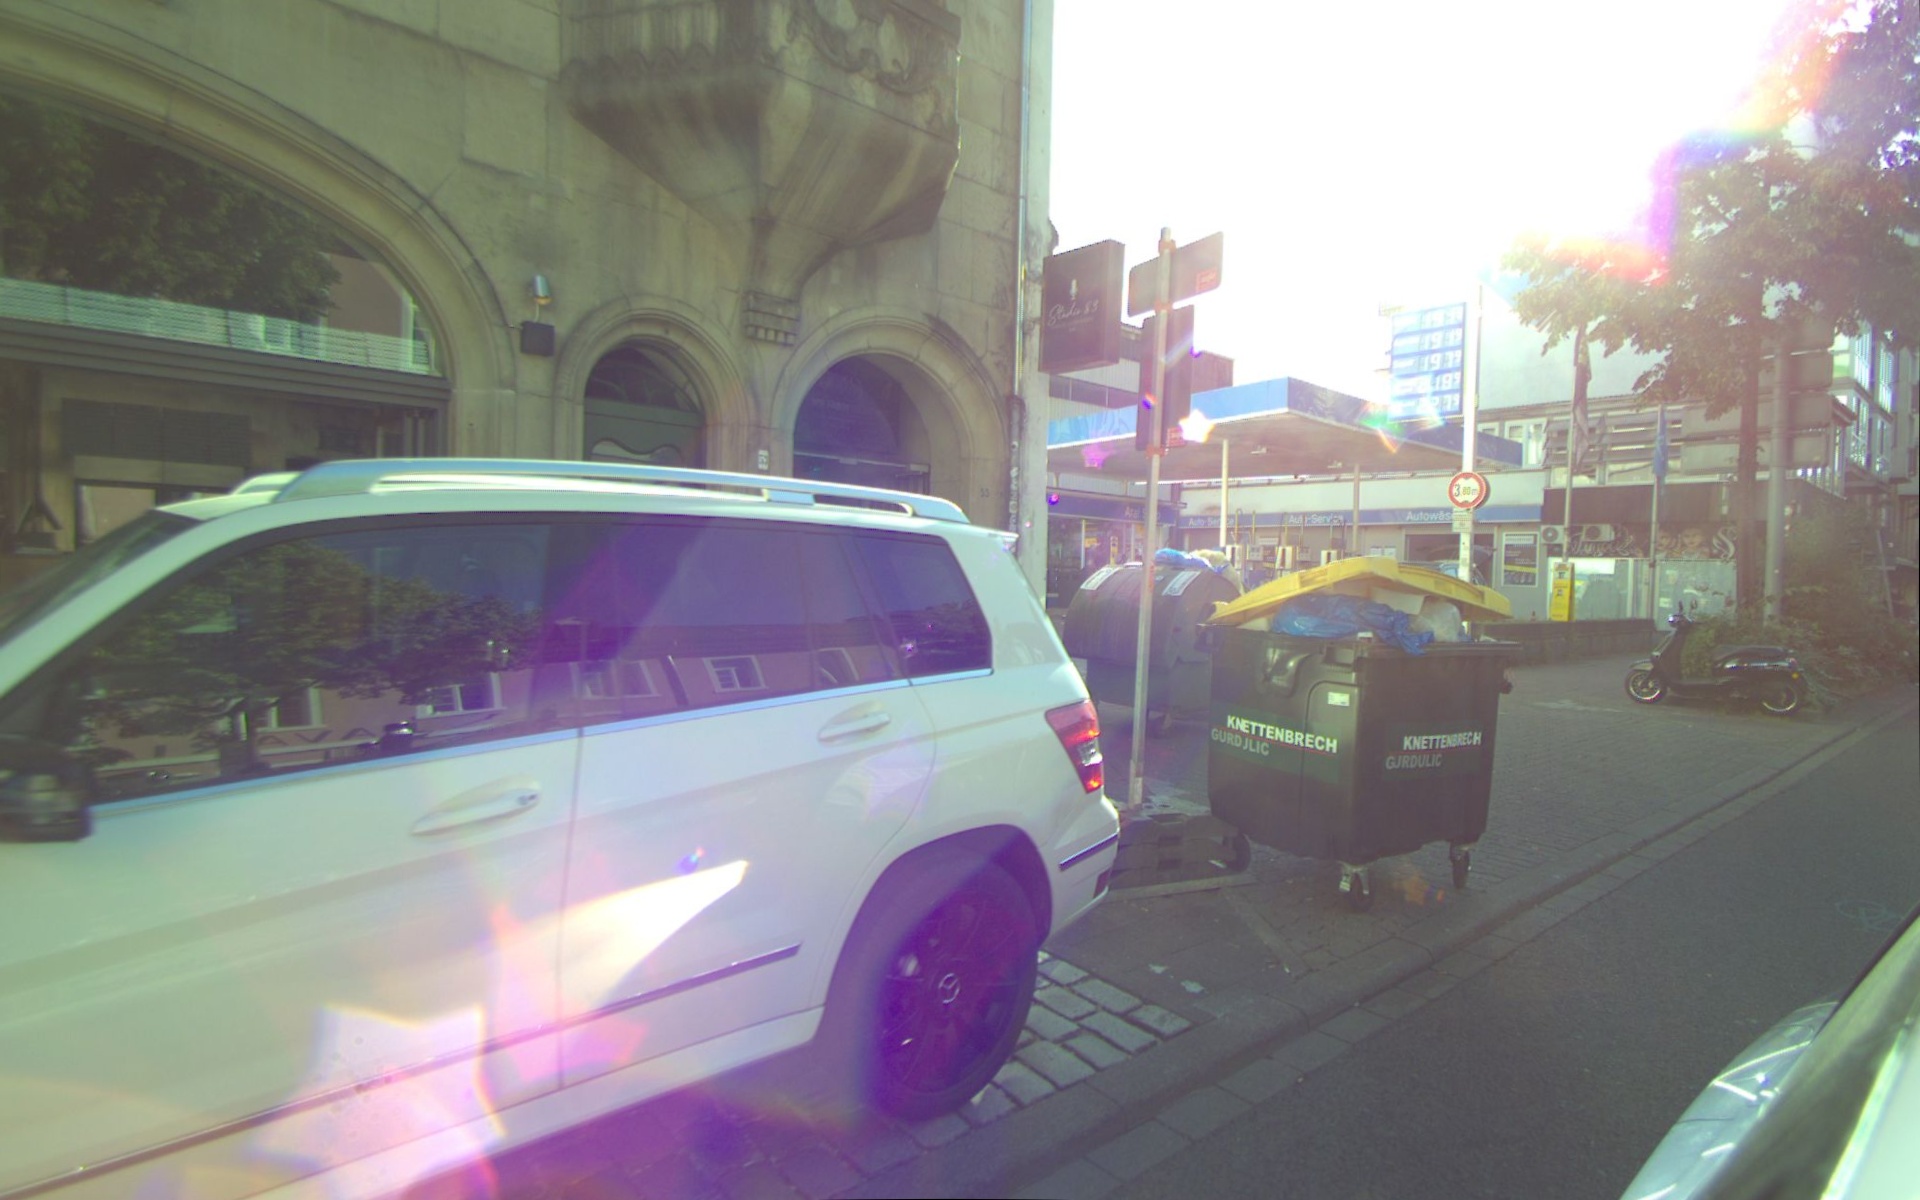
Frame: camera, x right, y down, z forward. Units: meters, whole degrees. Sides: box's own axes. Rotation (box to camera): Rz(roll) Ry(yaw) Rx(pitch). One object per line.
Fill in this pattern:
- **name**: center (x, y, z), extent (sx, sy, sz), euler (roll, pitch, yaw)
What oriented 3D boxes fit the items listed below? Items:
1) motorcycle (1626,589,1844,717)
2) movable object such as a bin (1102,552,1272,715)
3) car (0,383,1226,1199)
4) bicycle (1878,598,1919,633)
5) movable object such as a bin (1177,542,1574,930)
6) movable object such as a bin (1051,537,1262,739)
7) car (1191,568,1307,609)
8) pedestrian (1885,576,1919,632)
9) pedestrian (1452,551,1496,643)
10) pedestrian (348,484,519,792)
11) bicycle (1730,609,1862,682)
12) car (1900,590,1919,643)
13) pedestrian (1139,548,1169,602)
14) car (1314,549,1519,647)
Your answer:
- **motorcycle**: center (9.248, 0.580, 12.168), extent (1.973, 1.346, 0.899), euler (3, 2, 38)
- **movable object such as a bin**: center (2.367, 0.303, 10.588), extent (1.156, 1.549, 1.273), euler (0, 2, -42)
- **car**: center (-1.470, 0.473, 2.549), extent (4.520, 1.699, 1.827), euler (0, 4, -41)
- **bicycle**: center (33.169, 0.532, 35.418), extent (0.670, 1.163, 1.682), euler (2, 2, 7)
- **movable object such as a bin**: center (2.022, 0.532, 4.984), extent (1.431, 1.581, 1.147), euler (1, 2, -33)
- **movable object such as a bin**: center (1.786, 0.283, 9.188), extent (1.473, 1.647, 1.207), euler (0, 2, -42)
- **car**: center (10.855, -0.460, 38.255), extent (1.869, 1.375, 4.005), euler (1, 2, -31)
- **pedestrian**: center (33.699, 0.145, 35.942), extent (0.745, 1.959, 0.930), euler (1, 1, -16)
- **pedestrian**: center (10.763, -0.081, 21.179), extent (0.684, 1.872, 0.701), euler (3, 2, 33)
- **pedestrian**: center (-2.900, 0.179, 5.570), extent (0.687, 1.559, 0.612), euler (0, 2, -41)
- **bicycle**: center (12.373, 0.668, 14.990), extent (1.638, 1.000, 0.437), euler (2, 2, -6)
- **car**: center (28.159, 0.497, 28.546), extent (4.566, 1.429, 1.905), euler (0, 4, -41)
- **pedestrian**: center (5.848, -0.750, 30.543), extent (0.610, 1.596, 0.603), euler (4, 2, 44)
- **car**: center (8.845, -0.066, 19.473), extent (4.217, 1.668, 1.905), euler (0, 3, -40)
